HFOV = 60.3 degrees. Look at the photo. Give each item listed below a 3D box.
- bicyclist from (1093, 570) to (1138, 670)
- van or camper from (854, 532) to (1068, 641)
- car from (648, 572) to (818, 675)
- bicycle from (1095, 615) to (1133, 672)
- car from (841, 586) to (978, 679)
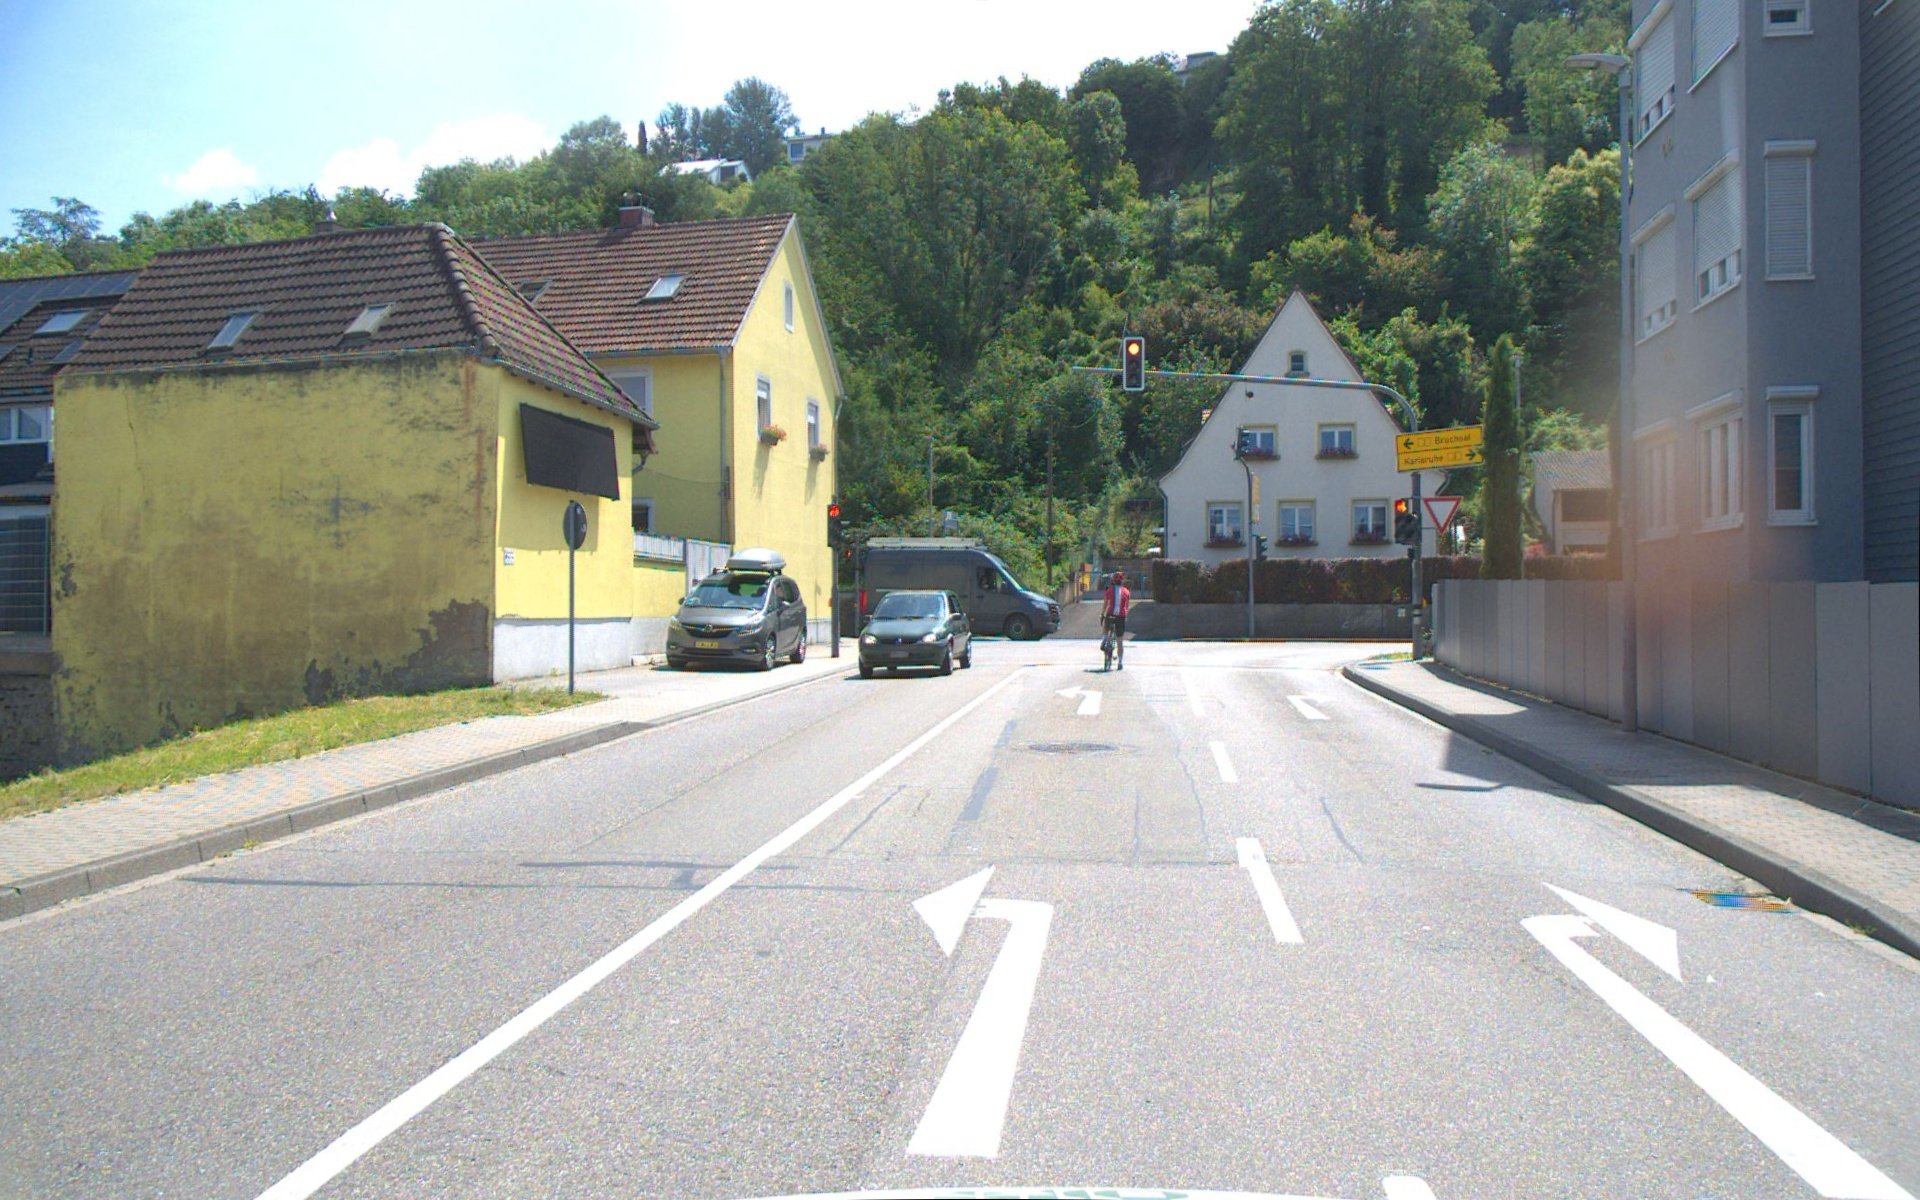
[{"bbox_3d":[2.704,0.334,28.713,0.744,1.693,0.869,1,0,5],"label":"bicyclist"},{"bbox_3d":[0.061,-0.365,48.161,5.865,3.057,2.220,0,0,14],"label":"van or camper"},{"bbox_3d":[-3.979,0.369,29.846,1.951,1.664,4.633,1,0,6],"label":"car"},{"bbox_3d":[2.660,0.732,28.598,0.616,0.920,1.658,1,0,5],"label":"bicycle"},{"bbox_3d":[-0.798,0.511,28.573,1.742,1.458,3.875,-2,0,7],"label":"car"}]
